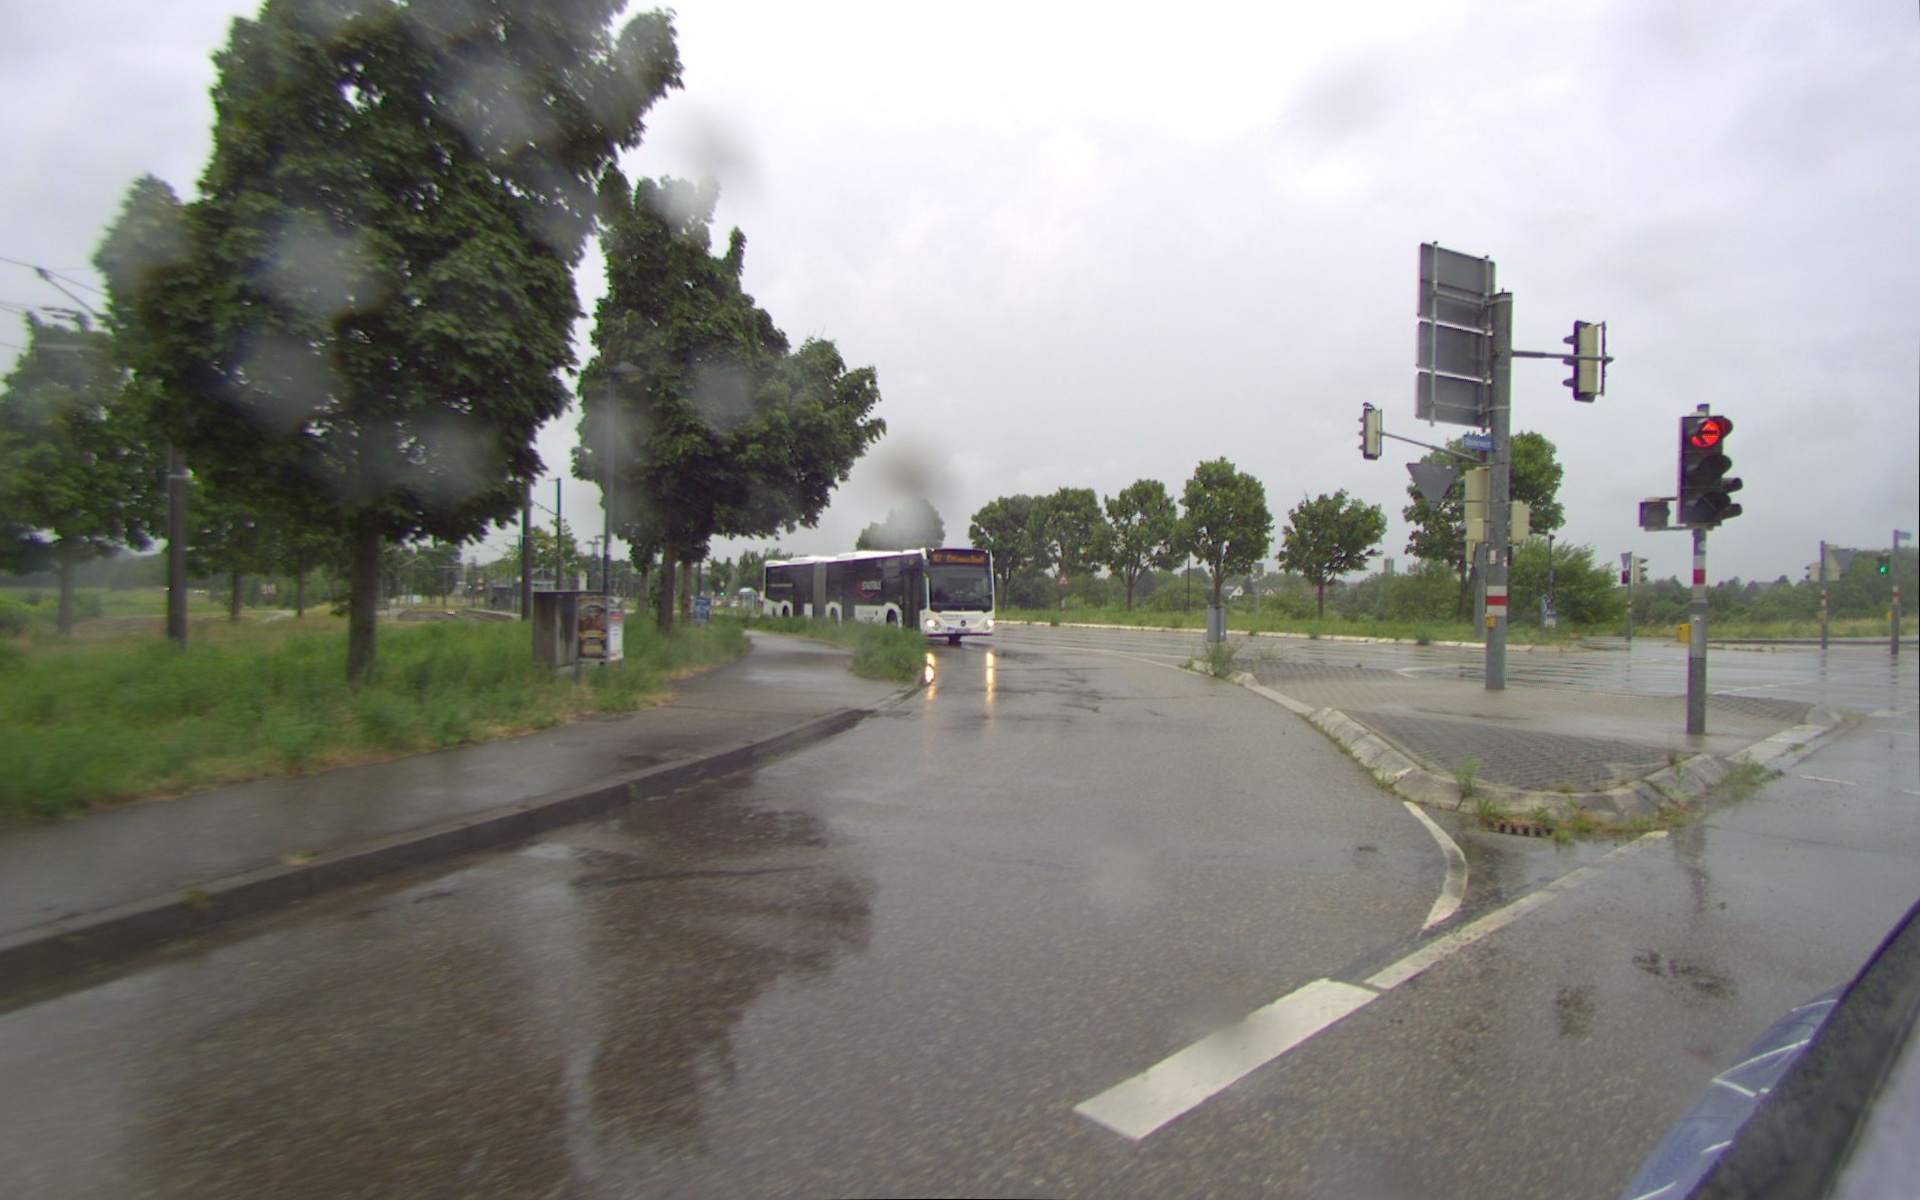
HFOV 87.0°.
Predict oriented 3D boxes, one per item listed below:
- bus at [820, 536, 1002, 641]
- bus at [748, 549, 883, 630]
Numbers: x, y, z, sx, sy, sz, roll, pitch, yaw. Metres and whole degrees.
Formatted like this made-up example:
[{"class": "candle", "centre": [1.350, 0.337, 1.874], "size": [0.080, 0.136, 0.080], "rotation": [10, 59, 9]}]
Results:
[{"class": "bus", "centre": [-2.047, -0.392, 35.189], "size": [2.623, 3.116, 10.010], "rotation": [0, 0, -26]}, {"class": "bus", "centre": [-6.551, -0.454, 44.156], "size": [2.624, 3.116, 10.008], "rotation": [0, 0, -28]}]
